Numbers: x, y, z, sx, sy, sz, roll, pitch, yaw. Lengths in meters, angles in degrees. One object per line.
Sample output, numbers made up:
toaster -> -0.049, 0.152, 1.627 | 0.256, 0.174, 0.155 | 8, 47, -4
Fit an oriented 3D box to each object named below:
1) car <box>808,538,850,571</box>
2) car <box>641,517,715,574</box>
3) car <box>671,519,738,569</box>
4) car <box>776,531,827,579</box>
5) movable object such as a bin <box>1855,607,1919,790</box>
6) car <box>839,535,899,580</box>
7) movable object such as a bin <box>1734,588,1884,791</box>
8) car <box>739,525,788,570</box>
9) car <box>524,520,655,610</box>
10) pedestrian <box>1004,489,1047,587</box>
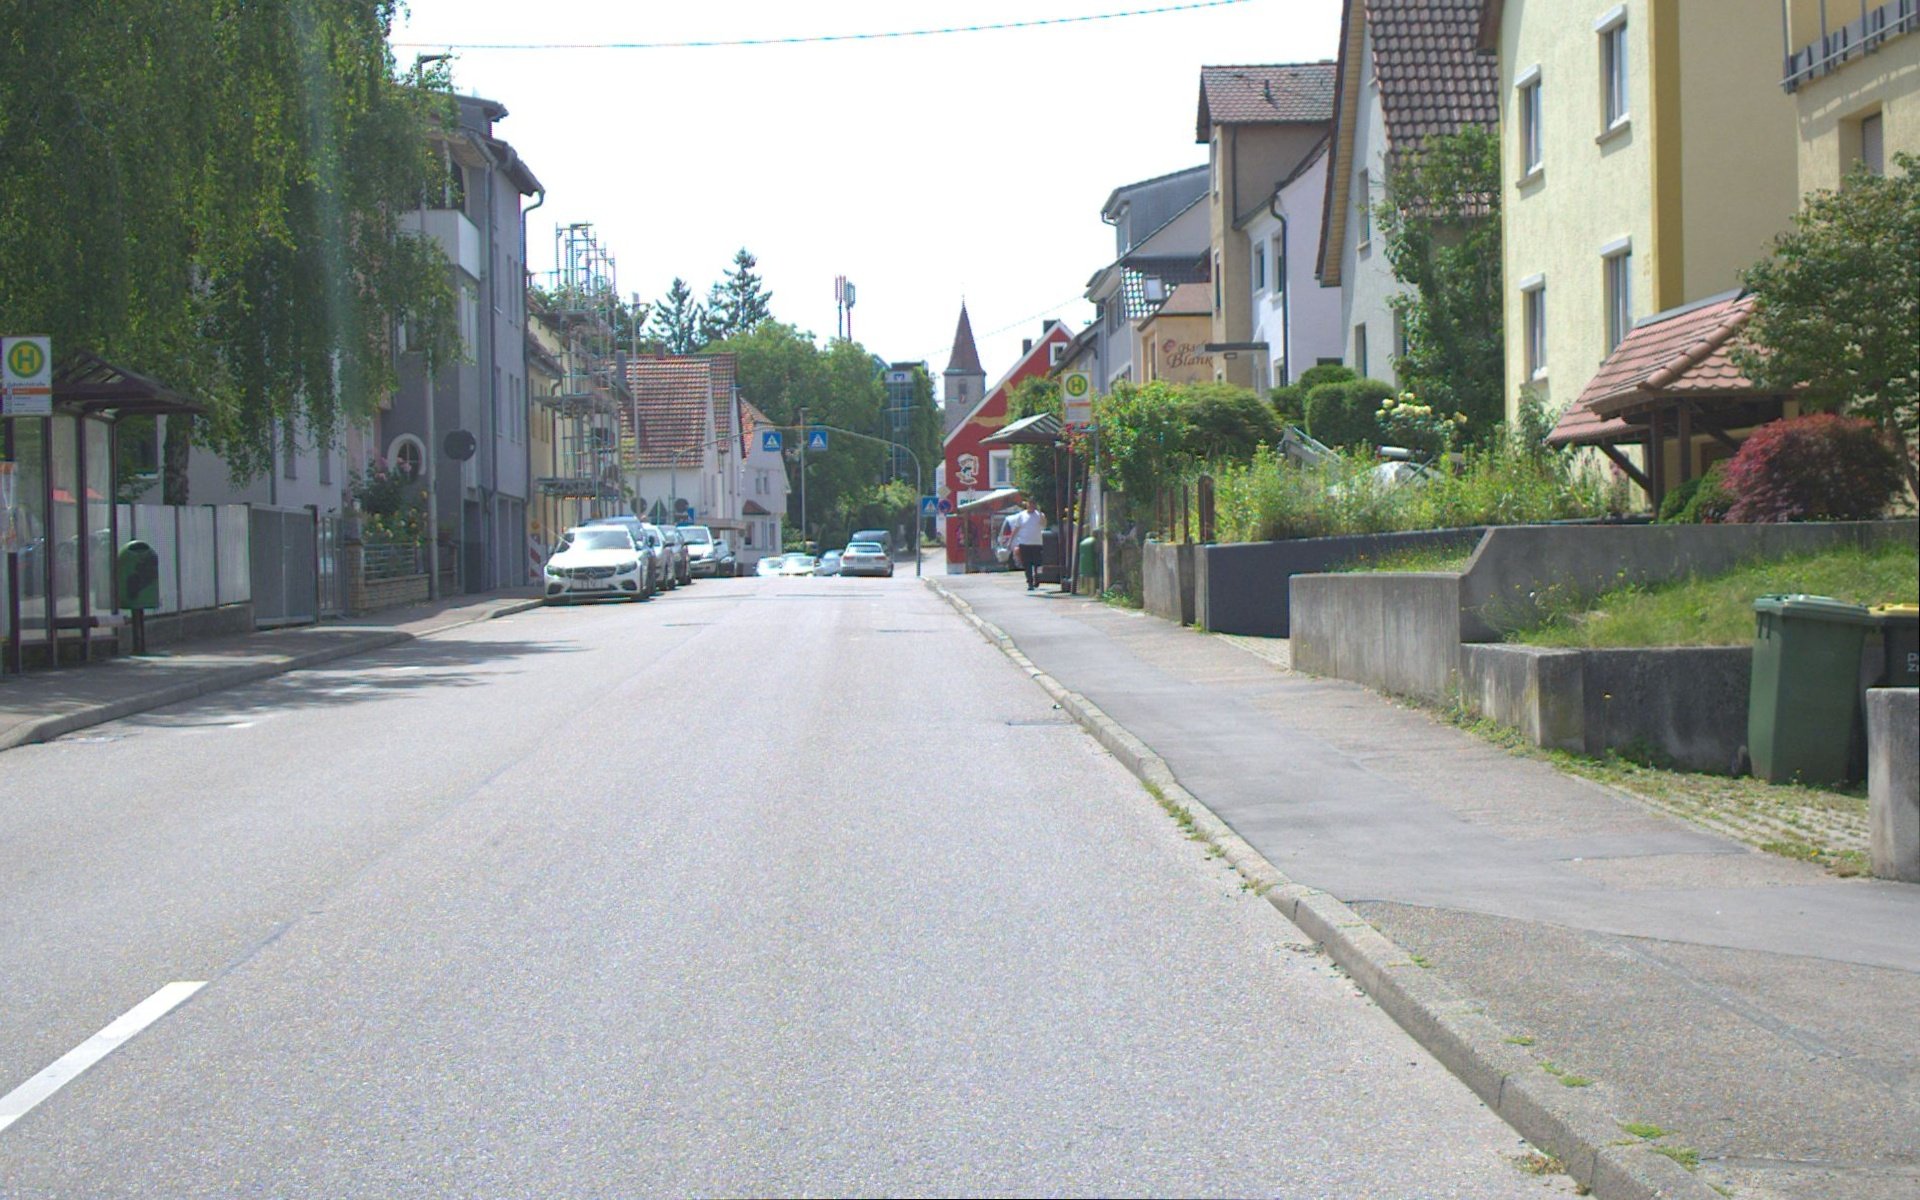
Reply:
car -> -6.330, -2.223, 166.077 | 1.840, 1.459, 4.001 | -2, 2, 0
car -> -8.292, -1.625, 101.232 | 1.993, 1.555, 4.314 | -2, 2, -3
car -> -8.510, -1.877, 114.798 | 1.993, 1.555, 4.314 | -2, 2, -2
car -> -7.073, -2.004, 153.353 | 1.993, 2.006, 4.000 | -2, 2, 1
movable object such as a bin -> 5.446, 0.564, 19.427 | 0.528, 0.986, 0.564 | 5, 1, -1
car -> -3.463, -1.633, 130.219 | 1.993, 1.555, 4.315 | -2, 2, -5
movable object such as a bin -> 4.780, 0.493, 19.393 | 0.583, 1.075, 0.734 | 3, 2, -2
car -> -9.295, -2.508, 163.049 | 1.993, 2.006, 4.000 | -2, 2, 1
car -> -6.997, -0.692, 65.322 | 2.110, 1.555, 4.314 | -2, 2, -2
pedestrian -> 1.188, -1.129, 62.586 | 0.646, 1.723, 0.608 | -4, 2, -1
